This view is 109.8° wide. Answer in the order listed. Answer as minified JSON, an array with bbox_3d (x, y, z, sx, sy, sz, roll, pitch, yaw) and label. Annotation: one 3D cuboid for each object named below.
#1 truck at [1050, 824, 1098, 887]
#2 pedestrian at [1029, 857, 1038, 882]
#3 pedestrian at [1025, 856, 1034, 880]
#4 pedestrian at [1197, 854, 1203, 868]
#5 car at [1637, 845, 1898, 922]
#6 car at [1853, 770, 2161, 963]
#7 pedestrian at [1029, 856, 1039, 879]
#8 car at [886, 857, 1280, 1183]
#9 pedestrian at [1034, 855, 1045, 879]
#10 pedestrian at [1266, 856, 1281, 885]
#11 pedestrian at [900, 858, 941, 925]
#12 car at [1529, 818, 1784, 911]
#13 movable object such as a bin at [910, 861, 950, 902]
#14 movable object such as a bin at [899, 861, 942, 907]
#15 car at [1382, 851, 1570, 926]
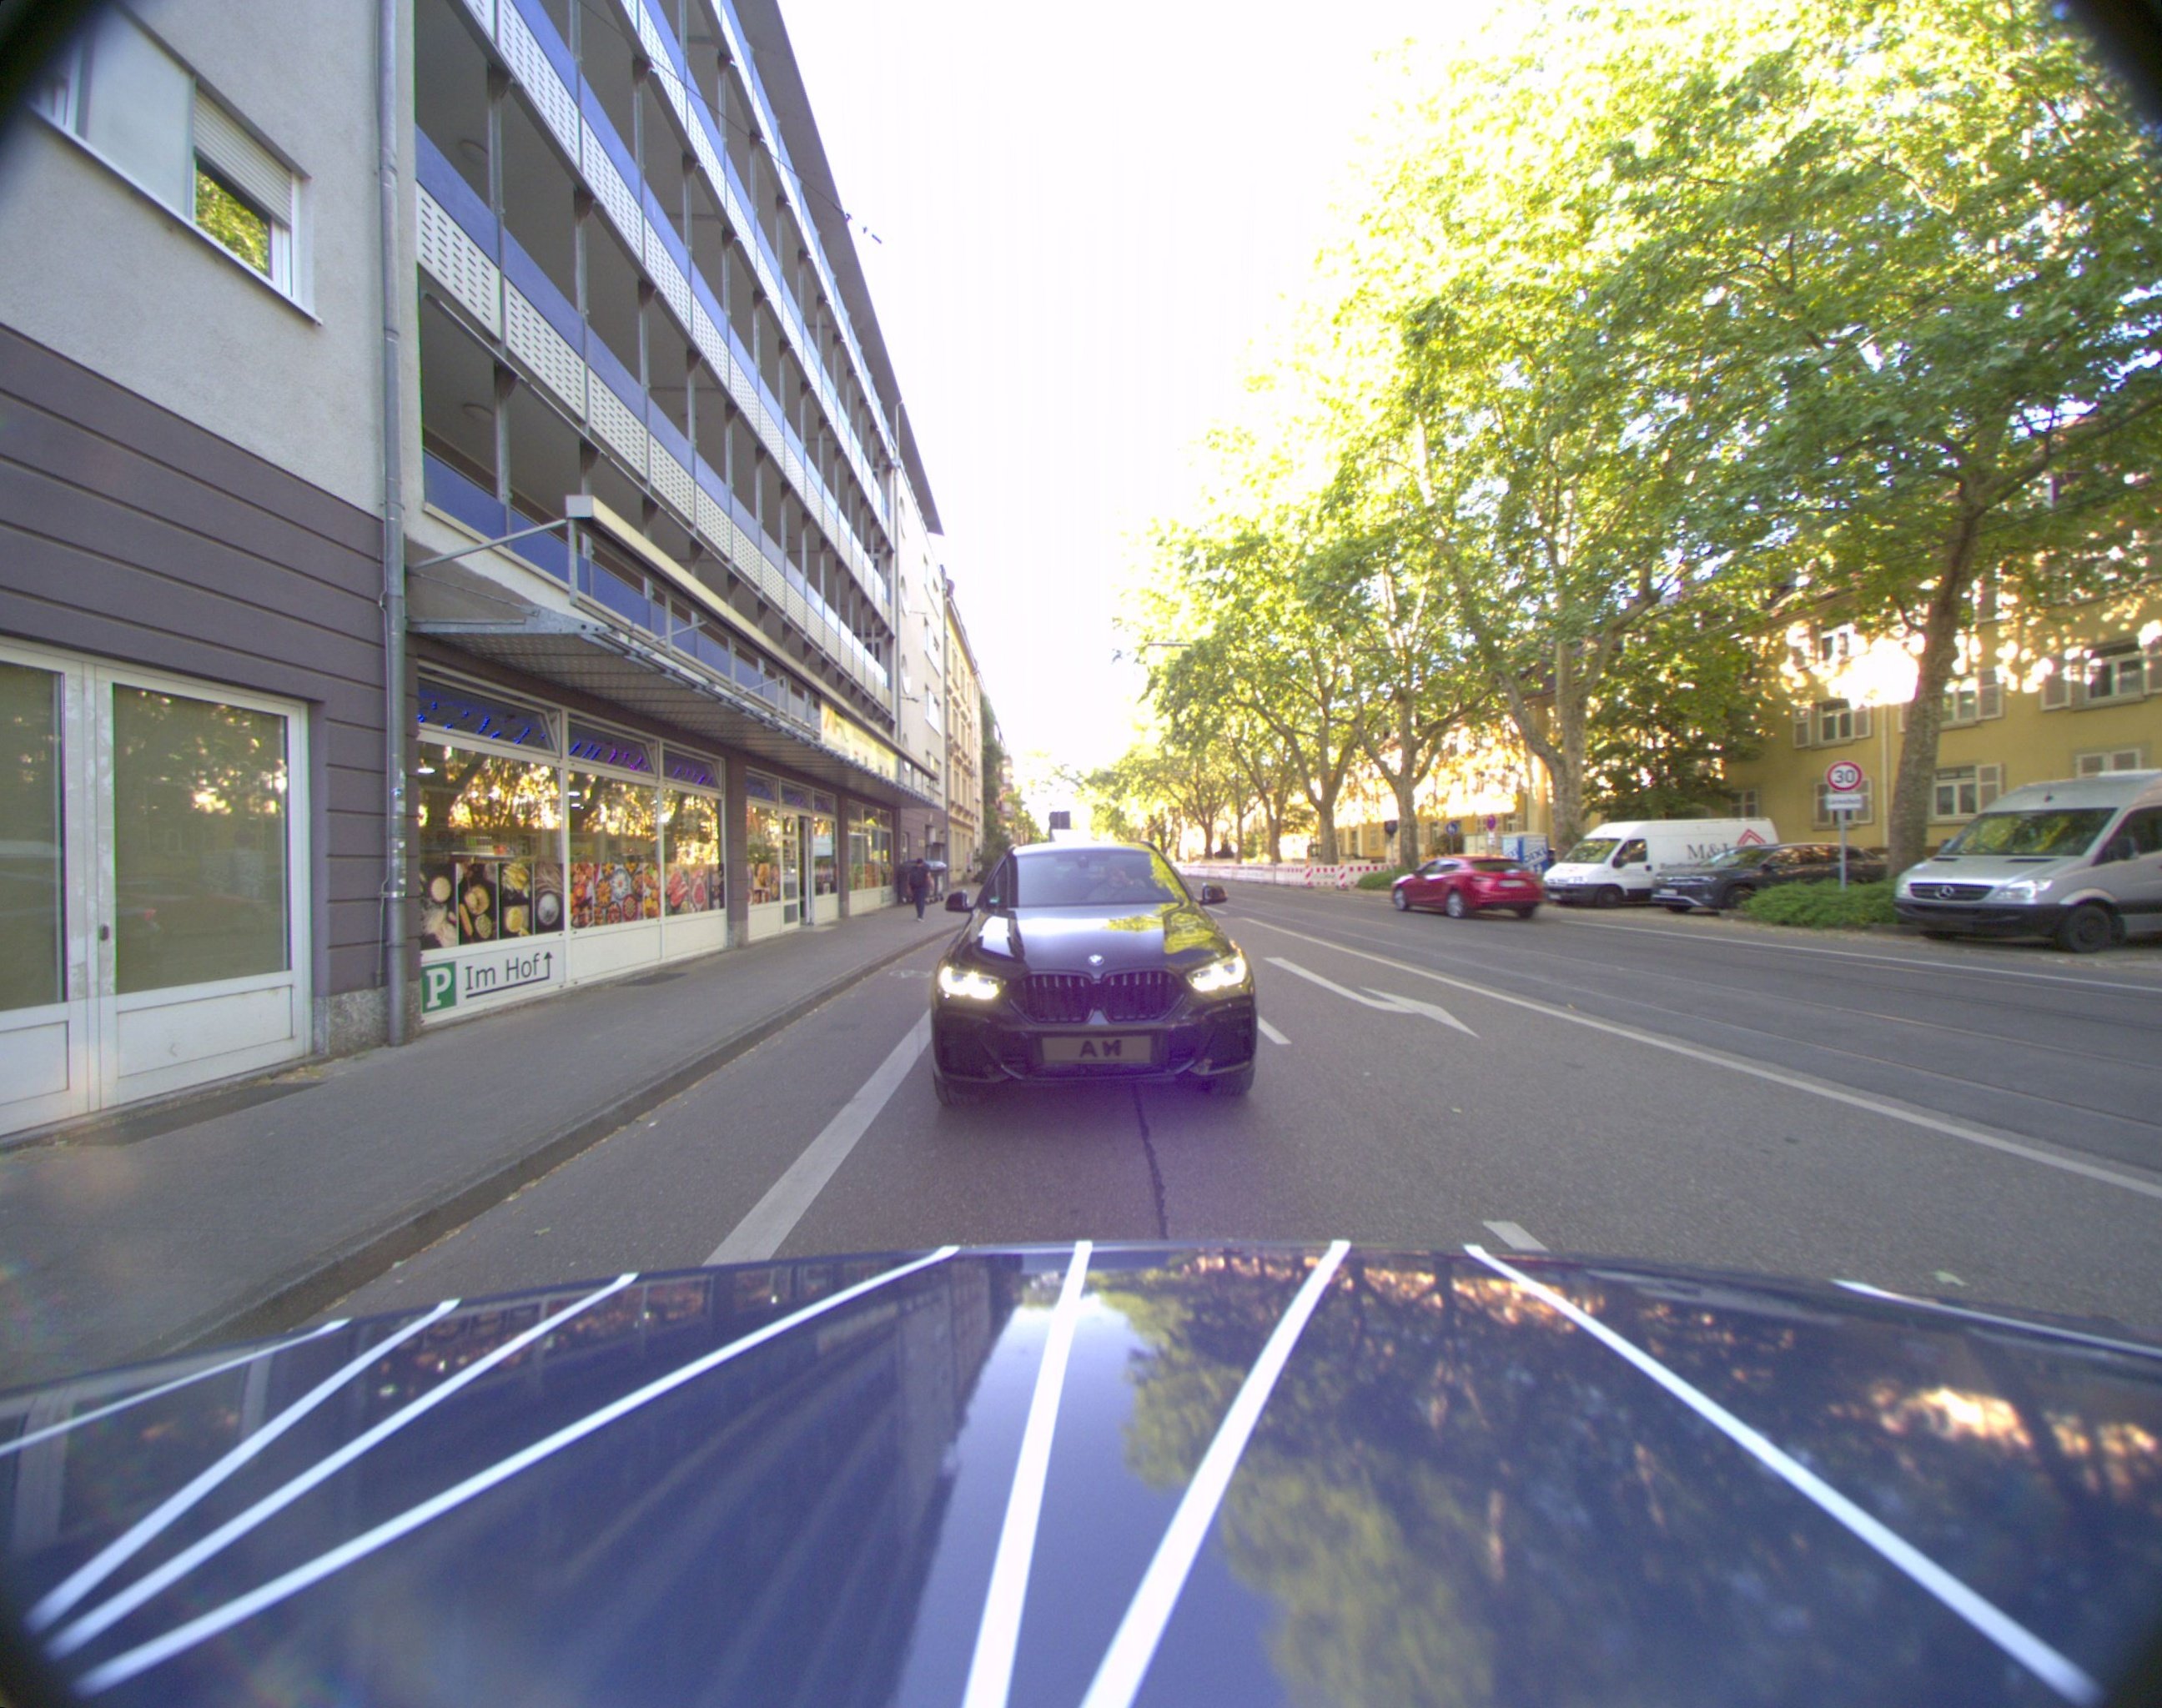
[{"bbox_3d":[-0.323,0.124,42.098,2.394,3.170,6.587,-1,0,1],"label":"truck"},{"bbox_3d":[-3.604,1.162,58.231,0.600,1.875,0.581,-2,1,-1],"label":"pedestrian"},{"bbox_3d":[-4.117,1.150,61.068,0.600,1.875,0.581,-2,1,-1],"label":"pedestrian"},{"bbox_3d":[15.951,0.979,101.970,0.732,1.875,0.665,-2,1,8],"label":"pedestrian"},{"bbox_3d":[16.073,0.660,17.940,4.627,1.642,1.774,-1,0,-2],"label":"car"},{"bbox_3d":[15.980,0.130,11.858,5.666,2.666,2.223,-2,0,-2],"label":"car"},{"bbox_3d":[-3.878,1.117,63.167,0.733,1.875,0.664,-2,1,-1],"label":"pedestrian"},{"bbox_3d":[0.039,0.869,6.059,1.998,1.643,4.295,-1,0,1],"label":"car"},{"bbox_3d":[-3.412,1.073,62.481,0.733,1.875,0.664,-2,1,-1],"label":"pedestrian"},{"bbox_3d":[11.704,0.998,46.208,0.652,1.735,0.583,-2,1,-1],"label":"pedestrian"},{"bbox_3d":[-3.861,0.889,18.299,0.864,1.582,0.622,-1,0,-5],"label":"pedestrian"},{"bbox_3d":[15.839,0.292,21.147,5.404,2.362,2.223,-1,0,0],"label":"car"},{"bbox_3d":[-5.289,0.956,26.683,1.158,1.418,0.939,-1,0,1],"label":"movable object such as a bin"},{"bbox_3d":[-5.201,0.957,24.644,1.158,1.418,0.939,-1,0,1],"label":"movable object such as a bin"},{"bbox_3d":[9.317,0.747,18.439,2.022,1.556,4.490,-1,0,-3],"label":"car"}]
